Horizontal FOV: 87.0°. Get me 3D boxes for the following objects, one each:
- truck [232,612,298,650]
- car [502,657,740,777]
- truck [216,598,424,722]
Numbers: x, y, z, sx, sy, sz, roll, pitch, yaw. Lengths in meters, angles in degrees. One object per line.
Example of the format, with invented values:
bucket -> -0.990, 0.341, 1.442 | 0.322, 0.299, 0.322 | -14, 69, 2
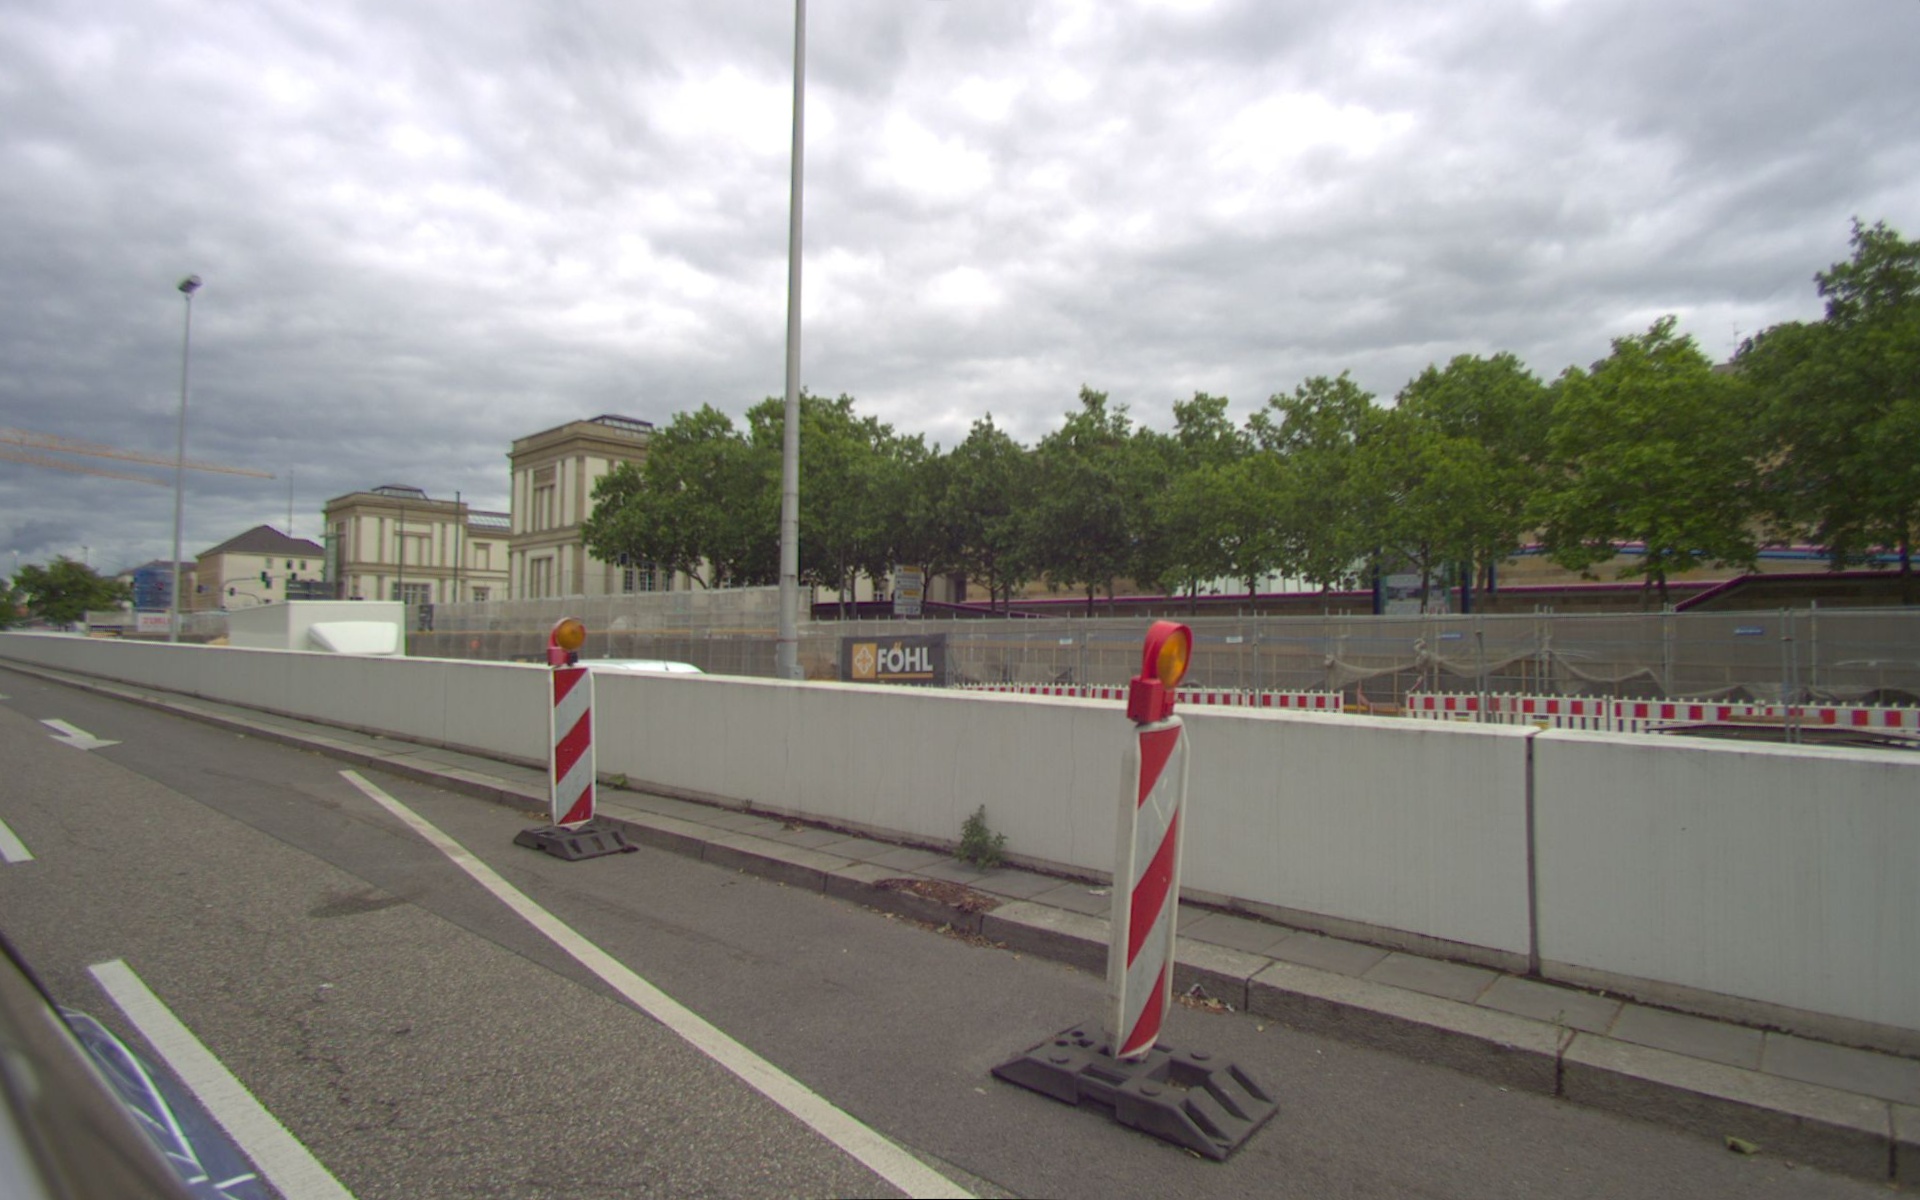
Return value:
truck -> -81.402, 3.711, 118.369 | 16.616, 4.114, 2.885 | -3, -5, 44
car -> -5.676, 1.807, 16.753 | 3.999, 1.654, 1.972 | -1, -3, 42
truck -> -16.205, 1.530, 25.459 | 6.670, 2.733, 2.575 | -4, -5, 41
